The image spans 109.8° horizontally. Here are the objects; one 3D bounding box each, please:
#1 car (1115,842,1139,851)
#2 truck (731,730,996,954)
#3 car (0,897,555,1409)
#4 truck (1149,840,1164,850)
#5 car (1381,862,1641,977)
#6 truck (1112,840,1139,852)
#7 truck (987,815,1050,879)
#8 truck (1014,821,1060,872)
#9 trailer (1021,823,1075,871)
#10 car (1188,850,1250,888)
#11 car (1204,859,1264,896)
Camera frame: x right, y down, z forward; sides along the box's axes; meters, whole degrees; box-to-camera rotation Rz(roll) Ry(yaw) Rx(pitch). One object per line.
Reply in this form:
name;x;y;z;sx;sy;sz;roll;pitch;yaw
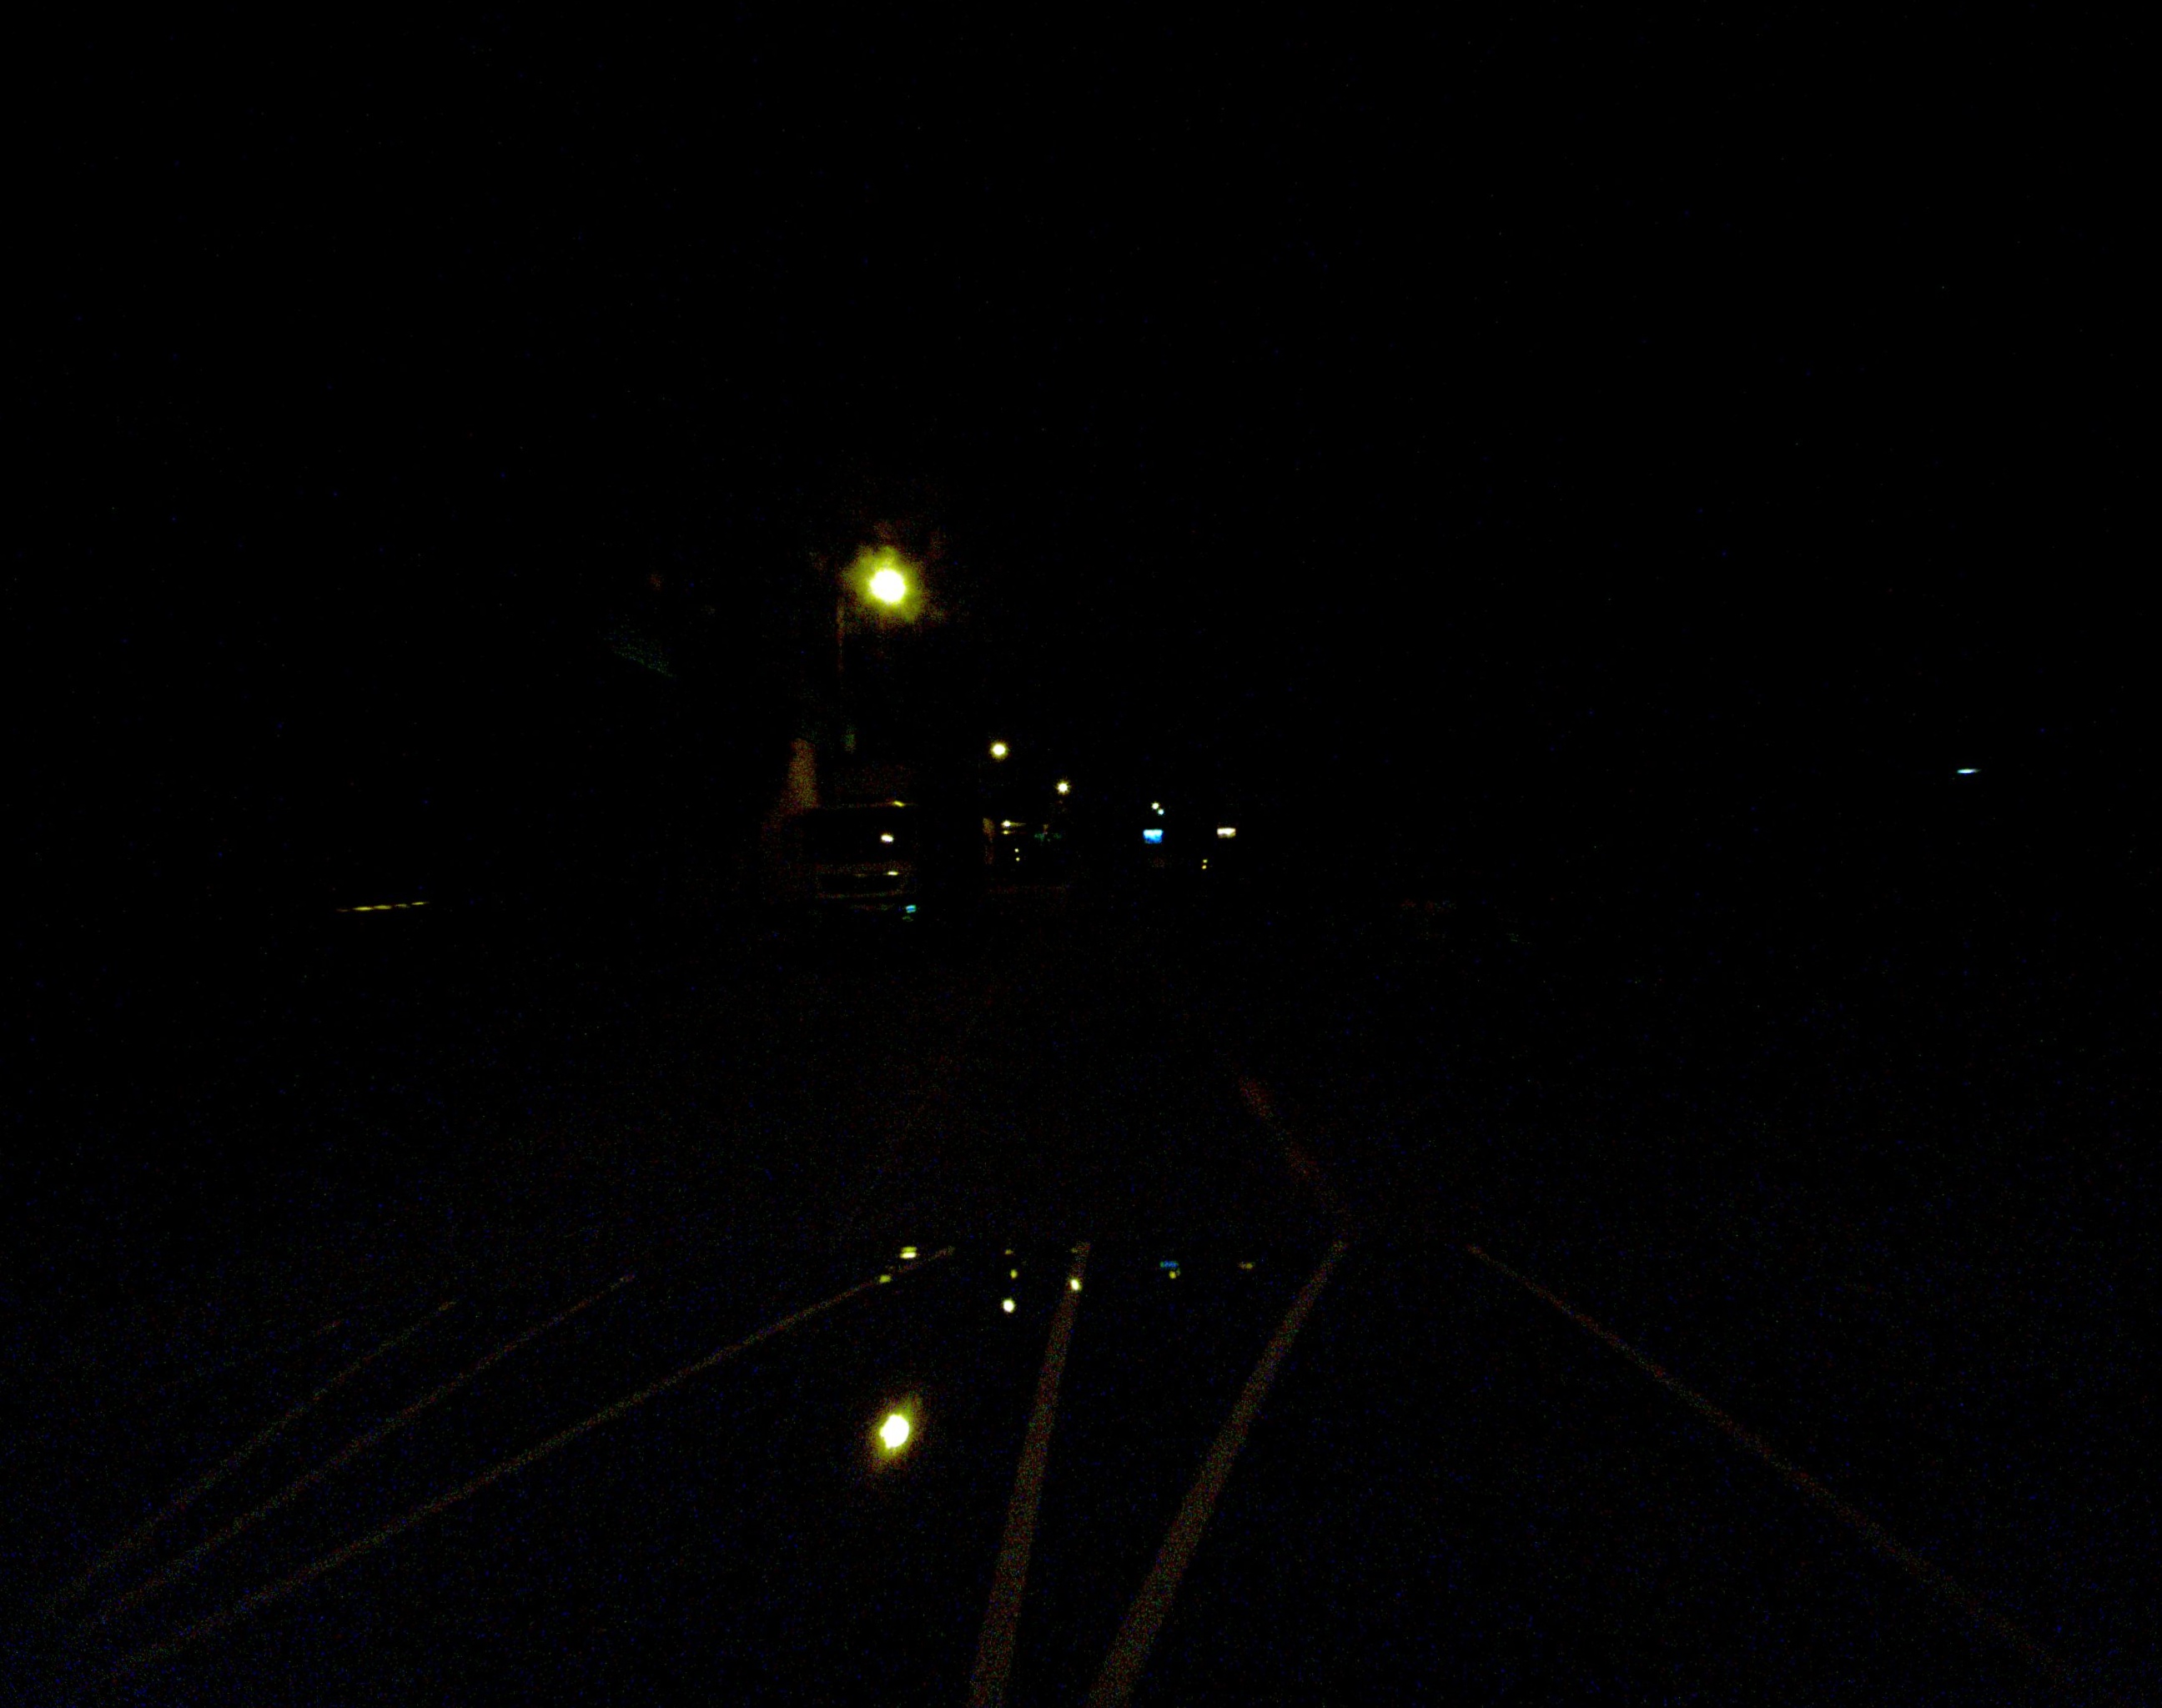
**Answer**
car;10.447;-1.697;173.304;5.079;1.826;1.991;-1;2;19
truck;-4.435;-0.274;18.650;3.529;3.960;10.340;0;1;0
car;-4.501;1.074;3.200;1.857;1.510;3.818;0;1;1
truck;18.554;-2.194;186.294;2.380;2.271;7.751;-1;1;16
car;6.421;0.882;11.943;1.846;1.412;4.000;-1;0;1
truck;10.070;-1.895;170.732;5.537;2.585;2.475;-1;1;16
truck;-4.025;-0.502;51.795;2.836;3.960;10.343;0;1;3
truck;-3.512;-0.611;62.475;2.836;3.960;6.052;1;1;6
trailer;-2.772;-0.669;69.245;2.814;3.960;13.979;1;1;6
car;6.522;0.662;36.411;1.999;1.627;4.772;-1;1;-1
car;6.222;0.929;31.280;1.606;1.346;3.999;-1;0;0
